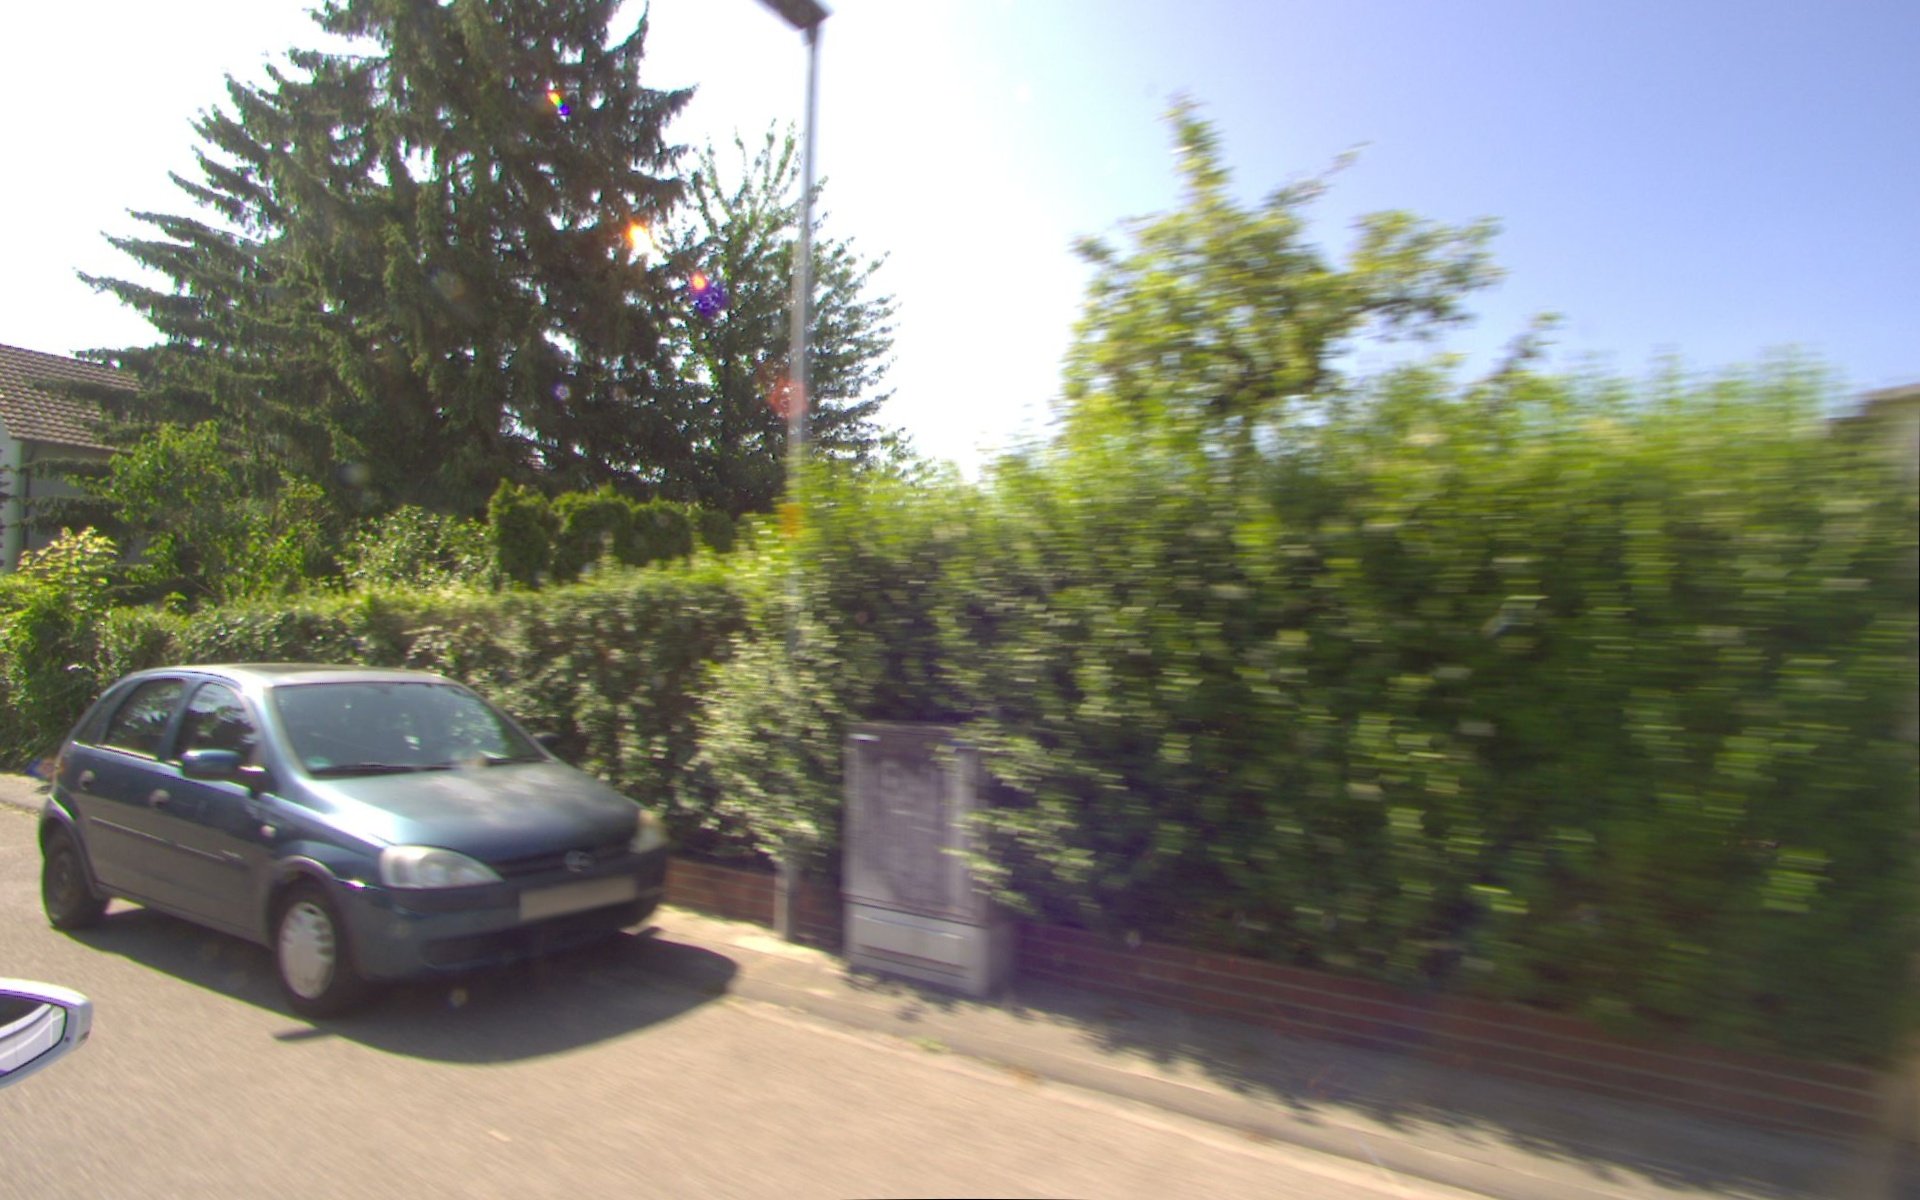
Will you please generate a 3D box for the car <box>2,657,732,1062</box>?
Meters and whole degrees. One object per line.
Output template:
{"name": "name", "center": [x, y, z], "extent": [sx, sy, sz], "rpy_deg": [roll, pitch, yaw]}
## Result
{"name": "car", "center": [-3.283, 1.045, 5.374], "extent": [3.943, 1.416, 1.701], "rpy_deg": [-2, -4, 32]}
